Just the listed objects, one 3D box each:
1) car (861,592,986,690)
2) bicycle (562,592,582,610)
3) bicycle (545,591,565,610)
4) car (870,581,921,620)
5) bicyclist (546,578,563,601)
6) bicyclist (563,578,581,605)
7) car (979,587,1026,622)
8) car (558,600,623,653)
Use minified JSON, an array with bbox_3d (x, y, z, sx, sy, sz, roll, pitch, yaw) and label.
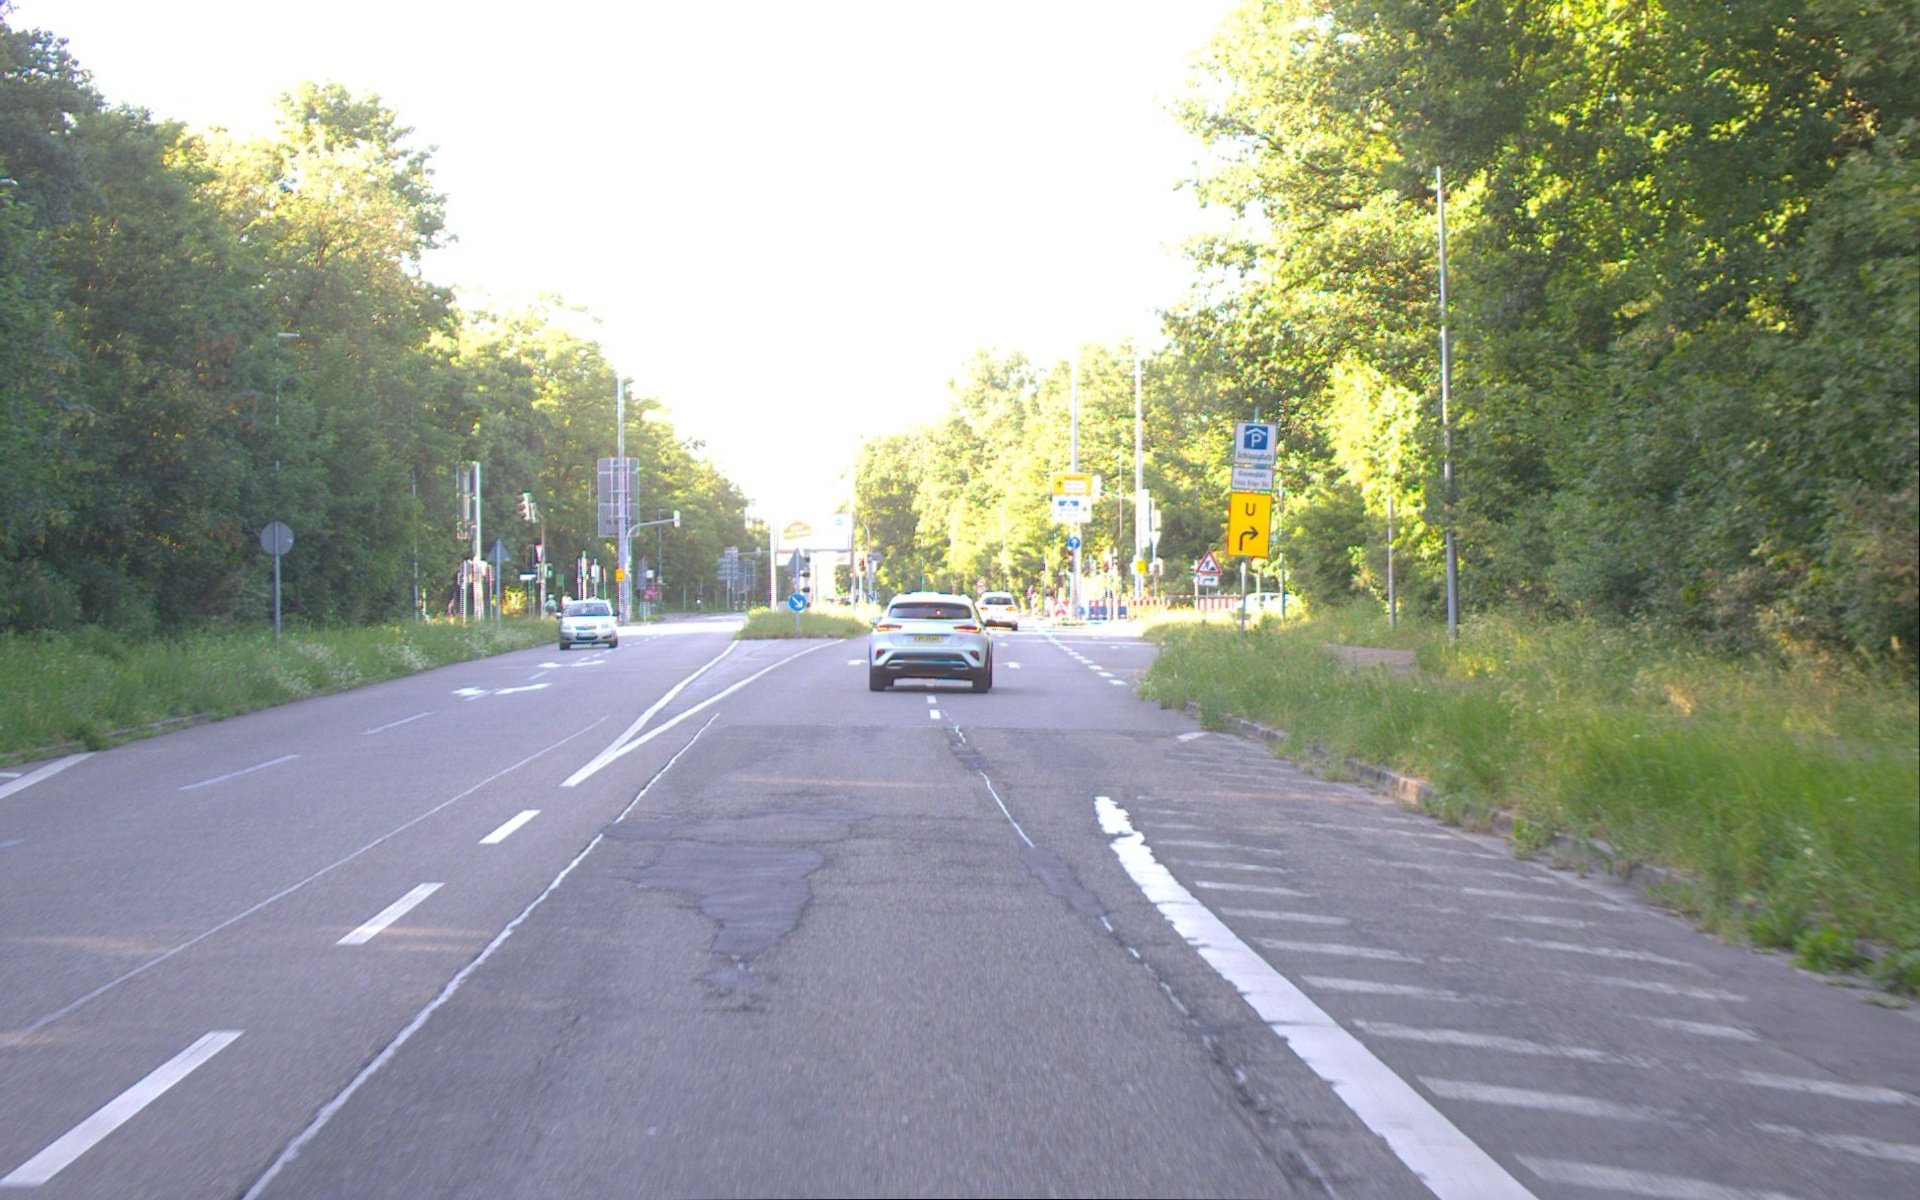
[{"bbox_3d":[-0.546,0.611,53.530,1.863,1.439,4.000,0,0,0],"label":"car"},{"bbox_3d":[-19.914,0.035,176.604,0.715,0.911,1.910,0,0,3],"label":"bicycle"},{"bbox_3d":[-20.823,0.035,176.689,0.715,0.911,1.911,0,1,3],"label":"bicycle"},{"bbox_3d":[-2.839,0.014,150.128,1.993,1.679,4.001,-1,0,-4],"label":"car"},{"bbox_3d":[-20.830,-0.556,176.687,0.715,1.188,0.990,0,0,3],"label":"bicyclist"},{"bbox_3d":[-19.924,-0.445,176.568,0.710,1.385,0.990,0,0,3],"label":"bicyclist"},{"bbox_3d":[1.764,0.171,142.481,1.940,1.409,4.000,-1,0,1],"label":"car"},{"bbox_3d":[-11.253,0.790,104.941,1.828,1.450,4.481,-3,1,-5],"label":"car"}]
